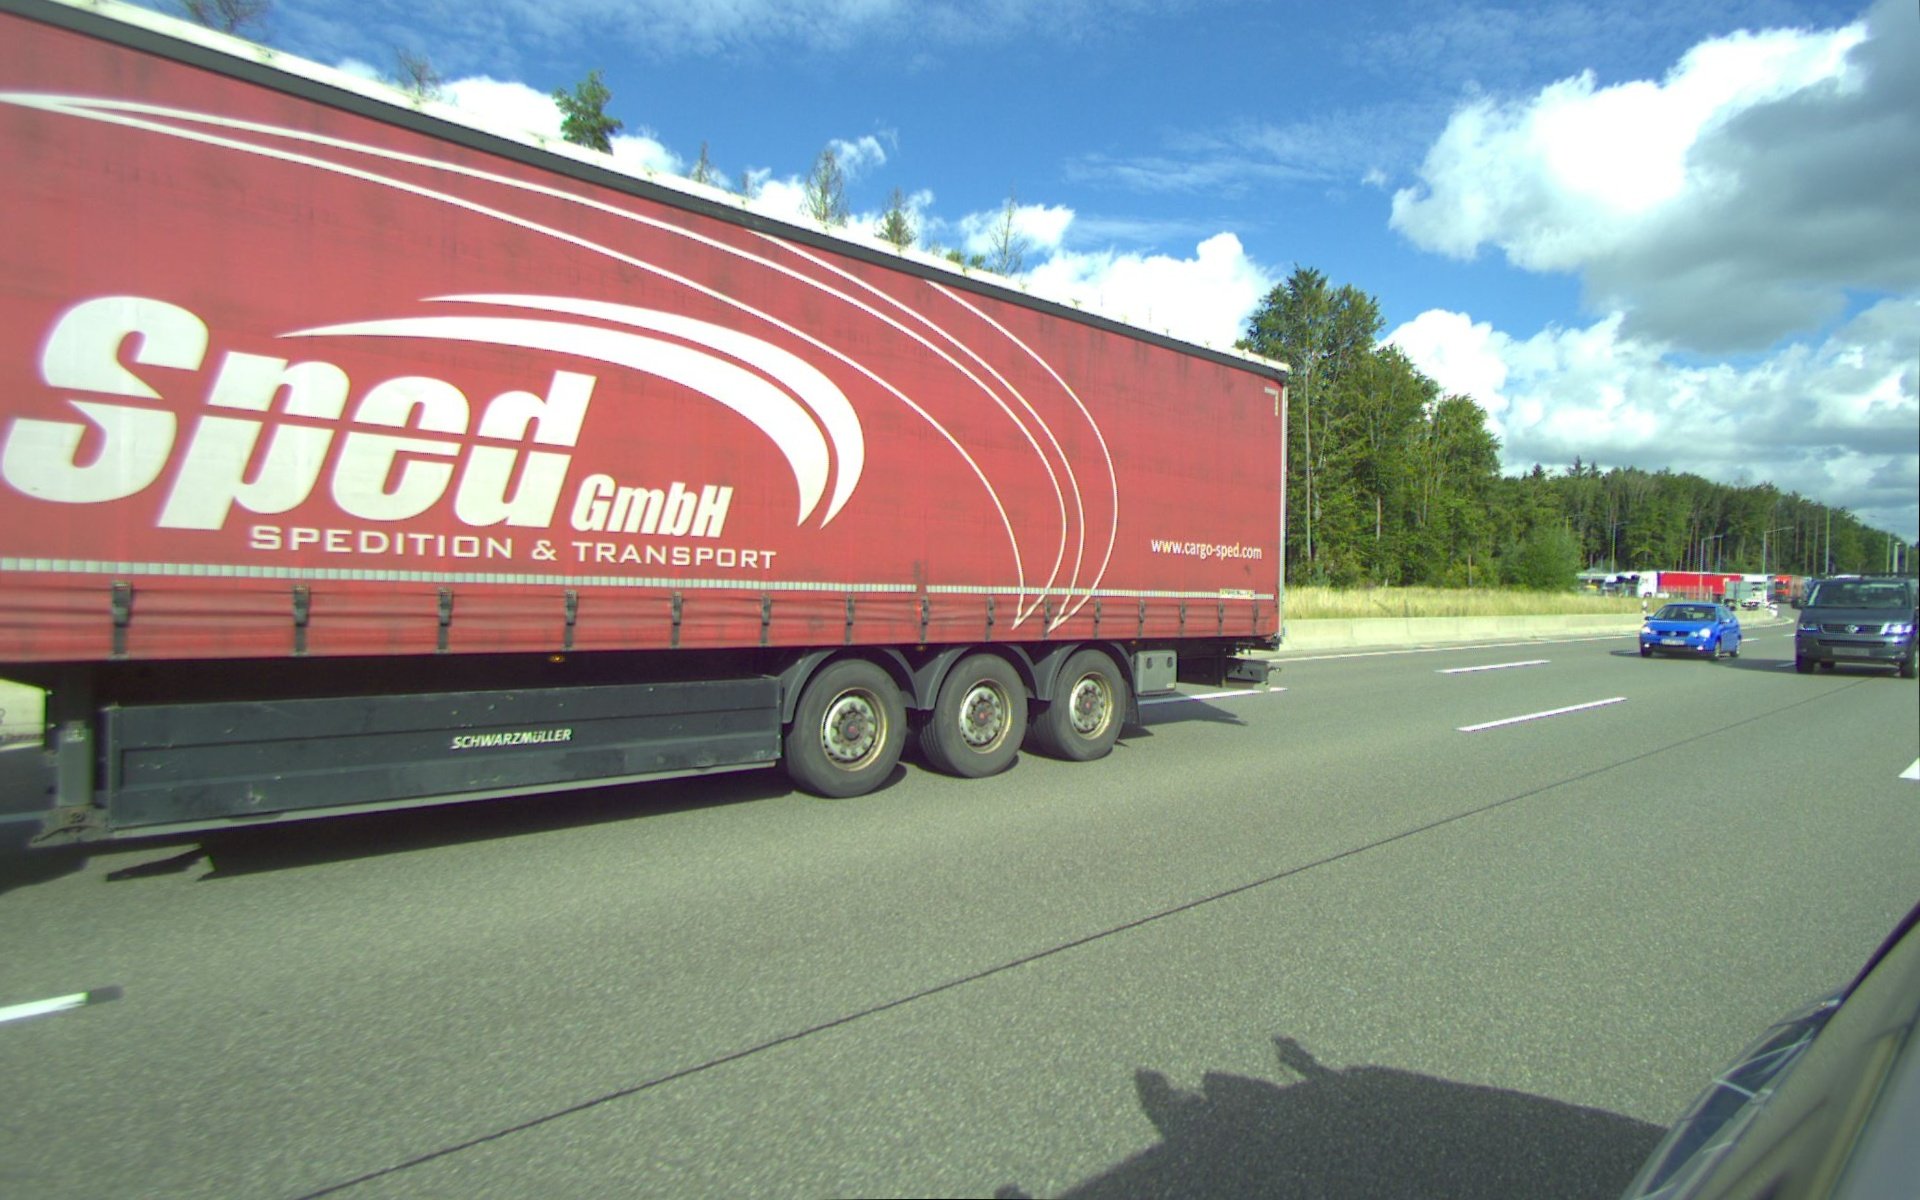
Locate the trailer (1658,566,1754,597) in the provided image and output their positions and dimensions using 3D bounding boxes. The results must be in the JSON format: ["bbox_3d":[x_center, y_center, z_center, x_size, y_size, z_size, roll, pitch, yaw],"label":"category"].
[{"bbox_3d":[107.321,-2.657,145.667,11.183,4.429,2.842,1,0,5],"label":"trailer"}]

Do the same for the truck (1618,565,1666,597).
[{"bbox_3d":[101.057,-2.867,150.070,5.030,4.564,2.894,1,1,4],"label":"truck"}]

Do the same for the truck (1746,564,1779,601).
[{"bbox_3d":[102.005,-2.241,128.590,2.870,4.563,7.069,2,2,41],"label":"truck"}]

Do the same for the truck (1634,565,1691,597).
[{"bbox_3d":[101.457,-2.782,146.183,5.989,4.564,2.877,0,0,5],"label":"truck"}]

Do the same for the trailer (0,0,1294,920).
[{"bbox_3d":[-2.468,-0.745,7.330,13.473,4.096,2.779,0,0,-41],"label":"trailer"}]

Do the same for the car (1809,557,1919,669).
[{"bbox_3d":[19.552,0.239,21.435,4.849,2.136,1.851,0,0,-43],"label":"car"}]

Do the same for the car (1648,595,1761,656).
[{"bbox_3d":[19.369,0.605,26.279,3.932,1.460,1.652,0,1,-43],"label":"car"}]

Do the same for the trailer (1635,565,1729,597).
[{"bbox_3d":[106.734,-2.750,149.641,11.340,4.485,2.859,1,1,4],"label":"trailer"}]

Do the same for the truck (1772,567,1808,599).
[{"bbox_3d":[119.140,-2.403,145.243,6.916,4.563,2.875,0,1,-42],"label":"truck"}]
